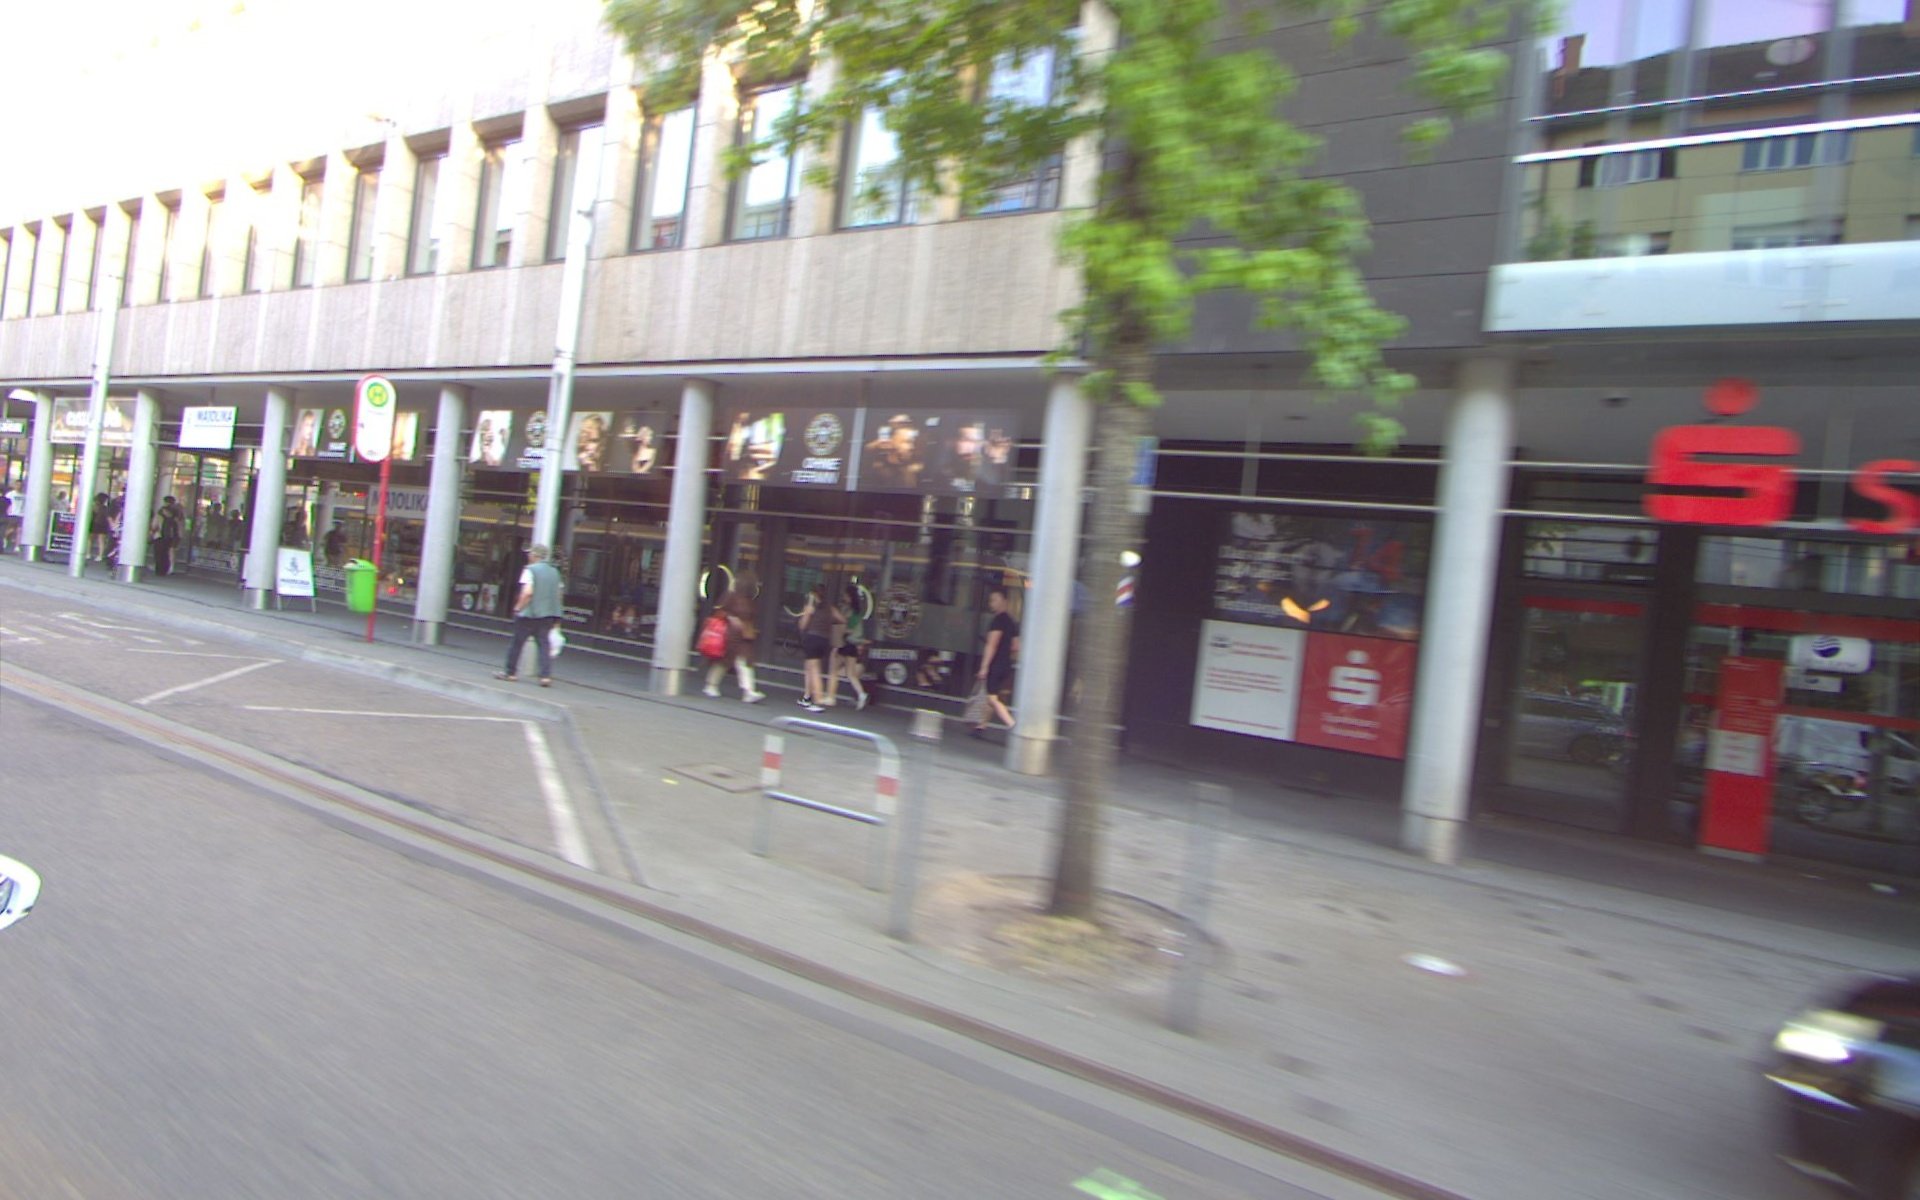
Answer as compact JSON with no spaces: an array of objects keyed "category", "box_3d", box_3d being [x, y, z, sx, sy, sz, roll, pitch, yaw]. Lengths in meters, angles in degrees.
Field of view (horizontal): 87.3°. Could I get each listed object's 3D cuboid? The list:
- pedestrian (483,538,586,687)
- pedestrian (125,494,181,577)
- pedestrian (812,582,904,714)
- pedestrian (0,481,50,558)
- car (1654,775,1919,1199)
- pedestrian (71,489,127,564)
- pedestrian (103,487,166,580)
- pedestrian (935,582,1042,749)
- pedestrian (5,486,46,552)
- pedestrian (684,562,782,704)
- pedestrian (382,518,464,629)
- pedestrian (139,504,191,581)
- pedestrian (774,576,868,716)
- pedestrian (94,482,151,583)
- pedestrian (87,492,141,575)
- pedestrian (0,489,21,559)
[{"category":"pedestrian","box_3d":[-4.908,0.153,11.622,0.627,1.606,0.670,7,-2,30]},{"category":"pedestrian","box_3d":[-19.653,-1.562,24.494,0.760,1.906,0.688,7,1,29]},{"category":"pedestrian","box_3d":[-1.373,0.644,13.576,0.805,1.664,0.711,6,1,29]},{"category":"pedestrian","box_3d":[-23.943,-2.058,25.602,0.844,1.820,0.845,6,1,31]},{"category":"car","box_3d":[4.336,1.504,1.931,1.782,1.424,4.529,9,-2,-31]},{"category":"pedestrian","box_3d":[-22.269,-1.895,26.034,0.761,1.794,0.774,6,1,29]},{"category":"pedestrian","box_3d":[-18.090,-1.451,22.047,0.783,1.913,0.707,6,1,31]},{"category":"pedestrian","box_3d":[0.336,0.751,11.737,0.849,1.794,0.674,6,1,30]},{"category":"pedestrian","box_3d":[-26.369,-2.292,28.378,0.607,1.753,0.571,7,1,29]},{"category":"pedestrian","box_3d":[-2.842,0.416,12.626,0.728,1.664,0.748,6,1,30]},{"category":"pedestrian","box_3d":[-9.900,-0.481,18.547,0.884,1.913,0.845,6,1,31]},{"category":"pedestrian","box_3d":[-18.504,-1.339,23.421,0.669,1.682,0.648,7,1,32]},{"category":"pedestrian","box_3d":[-1.764,0.582,12.835,0.775,1.664,0.682,6,1,29]},{"category":"pedestrian","box_3d":[-16.992,-1.366,20.417,0.644,1.968,0.579,6,1,30]},{"category":"pedestrian","box_3d":[-19.252,-1.503,22.888,0.760,1.775,0.583,7,1,29]},{"category":"pedestrian","box_3d":[-22.370,-1.791,23.249,0.724,1.590,0.725,6,1,32]}]
